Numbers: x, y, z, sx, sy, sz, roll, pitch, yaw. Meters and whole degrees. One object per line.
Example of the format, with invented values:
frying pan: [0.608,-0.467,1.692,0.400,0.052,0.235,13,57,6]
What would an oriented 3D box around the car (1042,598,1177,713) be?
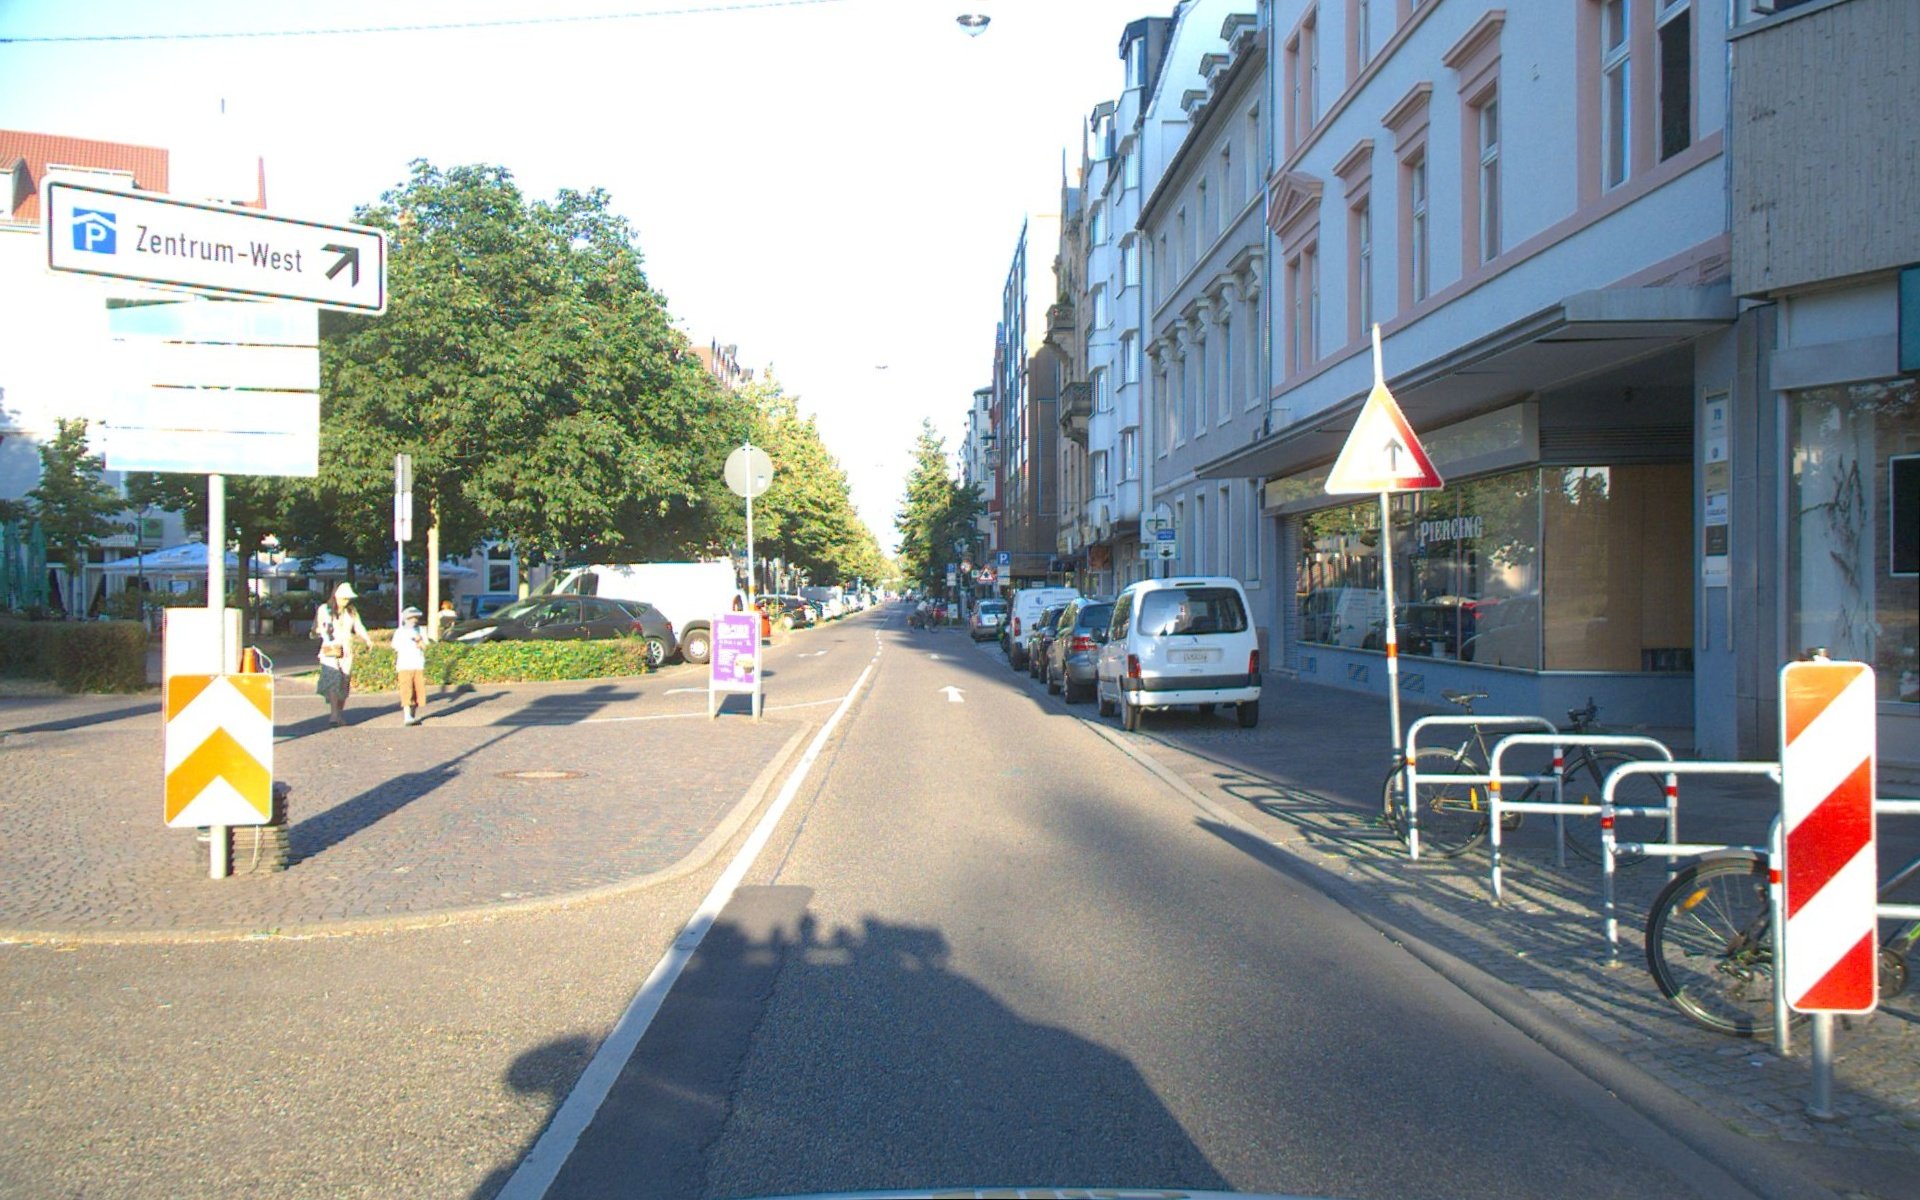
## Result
car: [2.342,0.825,26.792,1.623,1.694,4.106,1,0,-3]

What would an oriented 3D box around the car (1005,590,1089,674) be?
car: [2.014,0.711,39.334,1.675,1.867,4.305,1,0,-1]

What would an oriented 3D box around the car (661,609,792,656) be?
car: [-7.847,1.058,55.719,3.947,1.512,1.979,0,0,-32]

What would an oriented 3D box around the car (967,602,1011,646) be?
car: [1.123,0.931,65.515,1.646,1.588,4.000,-2,0,0]

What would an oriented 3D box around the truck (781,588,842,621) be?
truck: [-12.096,0.390,134.620,4.842,2.661,1.999,0,0,-3]

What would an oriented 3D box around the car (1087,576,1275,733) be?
car: [2.739,0.641,21.335,1.756,1.823,4.090,0,0,-2]

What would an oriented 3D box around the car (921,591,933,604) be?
car: [-4.296,-0.276,215.164,1.283,1.628,2.658,1,-1,-5]

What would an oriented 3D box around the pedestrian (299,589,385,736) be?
pedestrian: [-6.842,0.674,18.307,0.693,1.586,0.685,1,0,-39]

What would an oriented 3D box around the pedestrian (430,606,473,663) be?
pedestrian: [-11.809,0.792,38.420,0.742,1.300,0.652,1,0,-39]

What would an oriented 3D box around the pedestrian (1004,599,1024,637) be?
pedestrian: [2.403,0.814,73.785,0.740,1.669,1.258,1,0,-3]

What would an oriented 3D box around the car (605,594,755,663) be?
car: [-8.199,0.824,48.605,3.959,1.911,1.846,1,0,-38]

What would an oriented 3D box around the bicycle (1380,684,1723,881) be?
bicycle: [3.336,1.024,9.410,1.751,1.007,0.542,-2,1,21]

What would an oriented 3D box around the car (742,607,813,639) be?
car: [-10.509,1.314,95.338,3.910,1.738,1.832,1,0,-3]

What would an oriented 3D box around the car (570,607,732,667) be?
car: [-8.393,1.006,45.119,3.963,1.518,1.823,1,0,-41]

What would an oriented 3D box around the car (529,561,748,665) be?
car: [-7.459,0.325,38.408,4.547,2.290,2.182,1,-1,-29]

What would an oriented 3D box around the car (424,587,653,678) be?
car: [-7.965,0.579,31.426,3.850,1.610,1.775,0,0,-42]

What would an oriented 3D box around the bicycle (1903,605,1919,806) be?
bicycle: [6.891,0.641,10.323,0.412,1.299,1.637,0,-3,-44]

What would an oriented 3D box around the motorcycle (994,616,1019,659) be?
motorcycle: [1.352,1.094,48.750,0.576,1.221,2.209,1,0,-2]

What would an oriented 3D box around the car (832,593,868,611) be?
car: [-11.586,0.203,174.266,3.664,1.738,1.999,1,0,-3]

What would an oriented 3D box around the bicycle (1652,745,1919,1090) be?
bicycle: [3.262,1.008,5.386,1.749,1.007,0.542,-3,1,9]

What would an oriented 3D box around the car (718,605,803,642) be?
car: [-10.631,1.232,88.358,4.360,1.867,2.033,1,0,-3]

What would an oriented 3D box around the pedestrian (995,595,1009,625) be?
pedestrian: [2.448,0.591,96.468,0.750,1.718,0.785,-1,0,-4]

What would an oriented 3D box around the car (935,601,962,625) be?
car: [-0.823,0.896,112.395,1.546,1.570,3.393,-2,-1,-5]

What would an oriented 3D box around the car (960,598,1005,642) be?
car: [0.923,0.835,70.516,1.662,1.800,3.998,0,0,-3]

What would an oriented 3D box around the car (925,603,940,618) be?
car: [-2.402,0.936,144.351,1.183,1.323,2.658,1,-1,-5]

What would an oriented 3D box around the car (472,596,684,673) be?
car: [-7.967,0.694,34.657,3.965,1.512,1.805,1,0,-42]

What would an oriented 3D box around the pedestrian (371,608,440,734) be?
pedestrian: [-6.316,0.797,18.847,0.559,1.388,0.605,1,0,-39]

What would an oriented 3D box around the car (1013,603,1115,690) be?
car: [2.025,0.882,33.013,1.633,1.571,3.881,1,0,-2]
